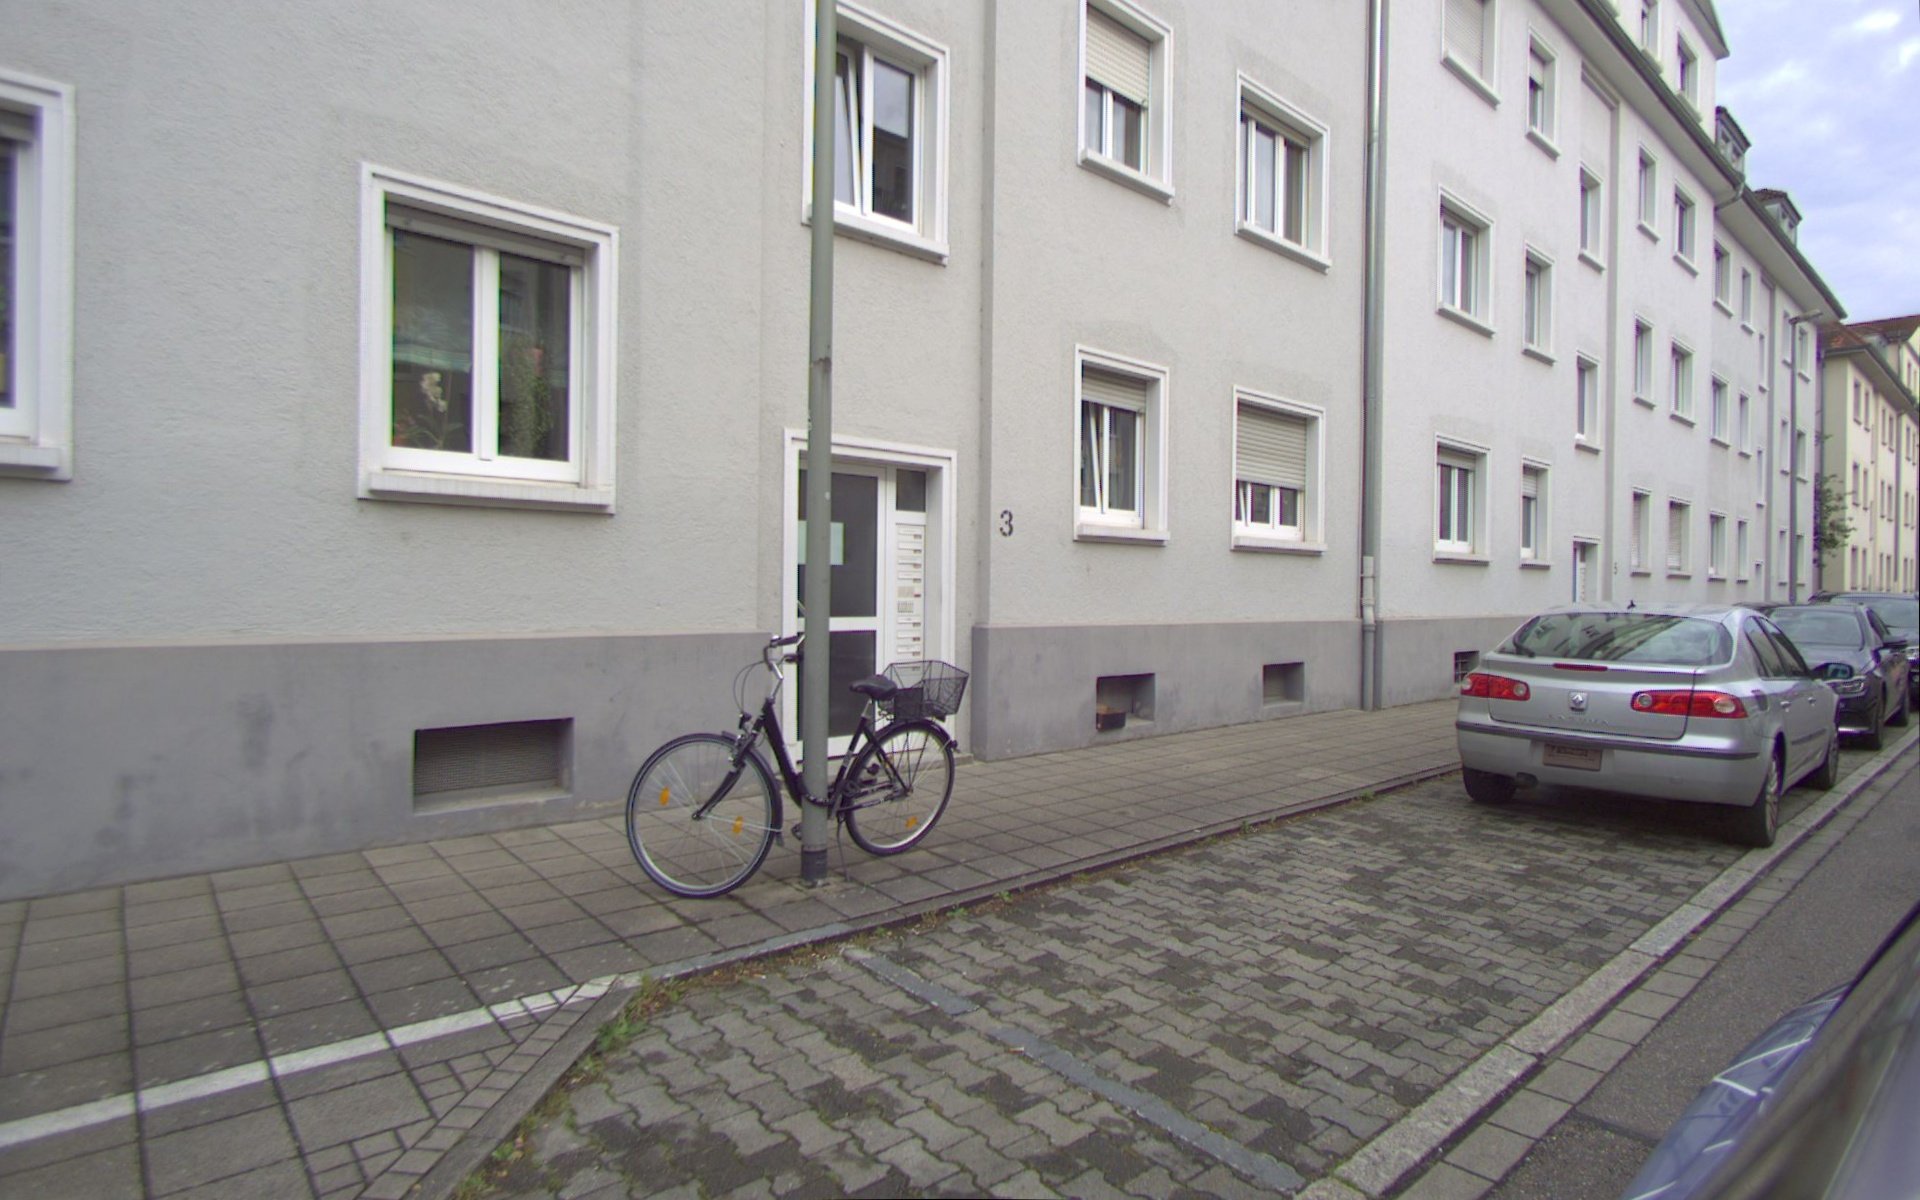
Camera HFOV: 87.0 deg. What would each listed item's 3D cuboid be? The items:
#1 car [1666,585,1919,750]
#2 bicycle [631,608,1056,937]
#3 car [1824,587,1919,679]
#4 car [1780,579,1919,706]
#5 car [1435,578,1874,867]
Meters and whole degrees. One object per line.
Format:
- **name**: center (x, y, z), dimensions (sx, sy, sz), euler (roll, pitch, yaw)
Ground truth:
- **car**: center (9.519, 0.611, 11.333), dimensions (4.250, 1.481, 1.784), euler (0, 1, -43)
- **bicycle**: center (-0.480, 0.668, 4.757), dimensions (1.862, 1.215, 0.750), euler (0, 2, -42)
- **car**: center (17.130, 0.550, 18.353), dimensions (3.691, 1.505, 1.735), euler (0, 1, -42)
- **car**: center (13.586, 0.548, 14.850), dimensions (4.090, 1.619, 1.850), euler (0, 1, -43)
- **car**: center (5.260, 0.629, 7.396), dimensions (4.356, 1.481, 1.734), euler (0, 1, -43)
